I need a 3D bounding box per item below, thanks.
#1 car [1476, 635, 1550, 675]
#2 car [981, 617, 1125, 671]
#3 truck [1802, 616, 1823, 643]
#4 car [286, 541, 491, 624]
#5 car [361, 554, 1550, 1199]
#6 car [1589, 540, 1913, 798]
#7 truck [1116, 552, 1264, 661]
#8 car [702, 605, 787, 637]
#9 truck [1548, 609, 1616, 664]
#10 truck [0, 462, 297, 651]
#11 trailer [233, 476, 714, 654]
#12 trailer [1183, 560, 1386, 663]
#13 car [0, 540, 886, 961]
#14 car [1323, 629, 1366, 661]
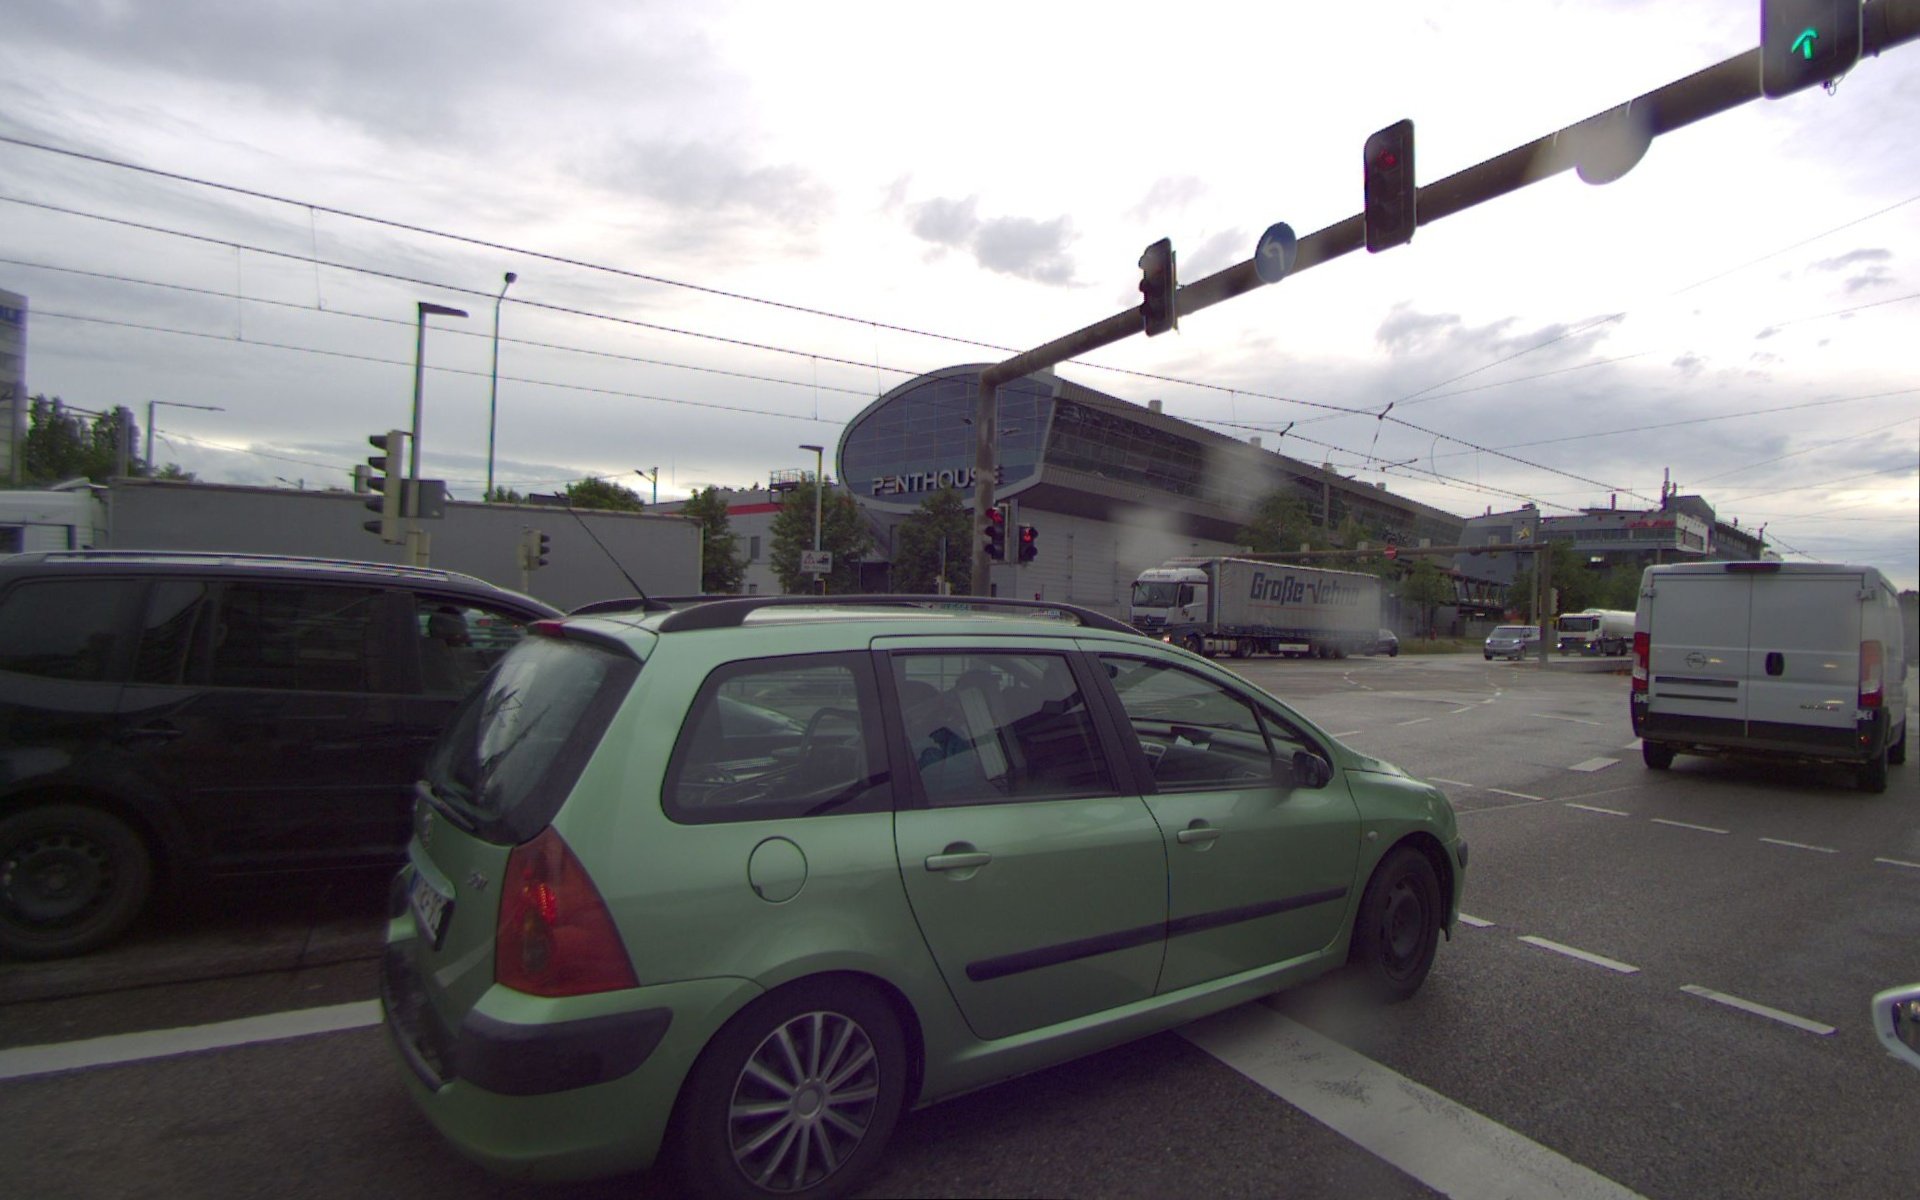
[{"bbox_3d":[30.869,2.994,55.980,4.870,1.862,1.976,0,4,-41],"label":"car"},{"bbox_3d":[3.148,1.484,33.699,4.514,1.576,1.893,3,1,-31],"label":"car"},{"bbox_3d":[124.550,4.334,146.813,2.133,3.694,6.842,4,1,40],"label":"truck"},{"bbox_3d":[-13.509,-0.410,24.014,4.045,1.674,1.879,3,1,-28],"label":"car"},{"bbox_3d":[0.327,0.730,3.860,4.361,1.488,1.683,3,1,-36],"label":"car"},{"bbox_3d":[9.327,0.711,11.656,2.420,2.324,4.874,0,-2,45],"label":"car"},{"bbox_3d":[9.693,0.346,42.014,6.129,4.184,2.647,3,-2,-37],"label":"truck"},{"bbox_3d":[-10.324,0.984,47.959,3.942,1.420,1.990,0,-2,42],"label":"car"},{"bbox_3d":[45.237,2.687,73.006,5.368,3.855,2.723,3,-3,-40],"label":"truck"},{"bbox_3d":[-19.611,-0.903,23.962,5.910,4.049,2.821,2,-1,-27],"label":"truck"},{"bbox_3d":[-12.767,-0.679,27.621,11.301,4.162,2.783,2,-1,-29],"label":"trailer"},{"bbox_3d":[15.409,0.722,46.709,12.643,4.179,2.627,3,-2,-40],"label":"trailer"},{"bbox_3d":[-2.657,0.619,5.310,4.137,1.613,1.721,3,1,-26],"label":"car"},{"bbox_3d":[21.074,2.438,54.985,1.962,1.630,4.643,1,-1,24],"label":"car"}]
